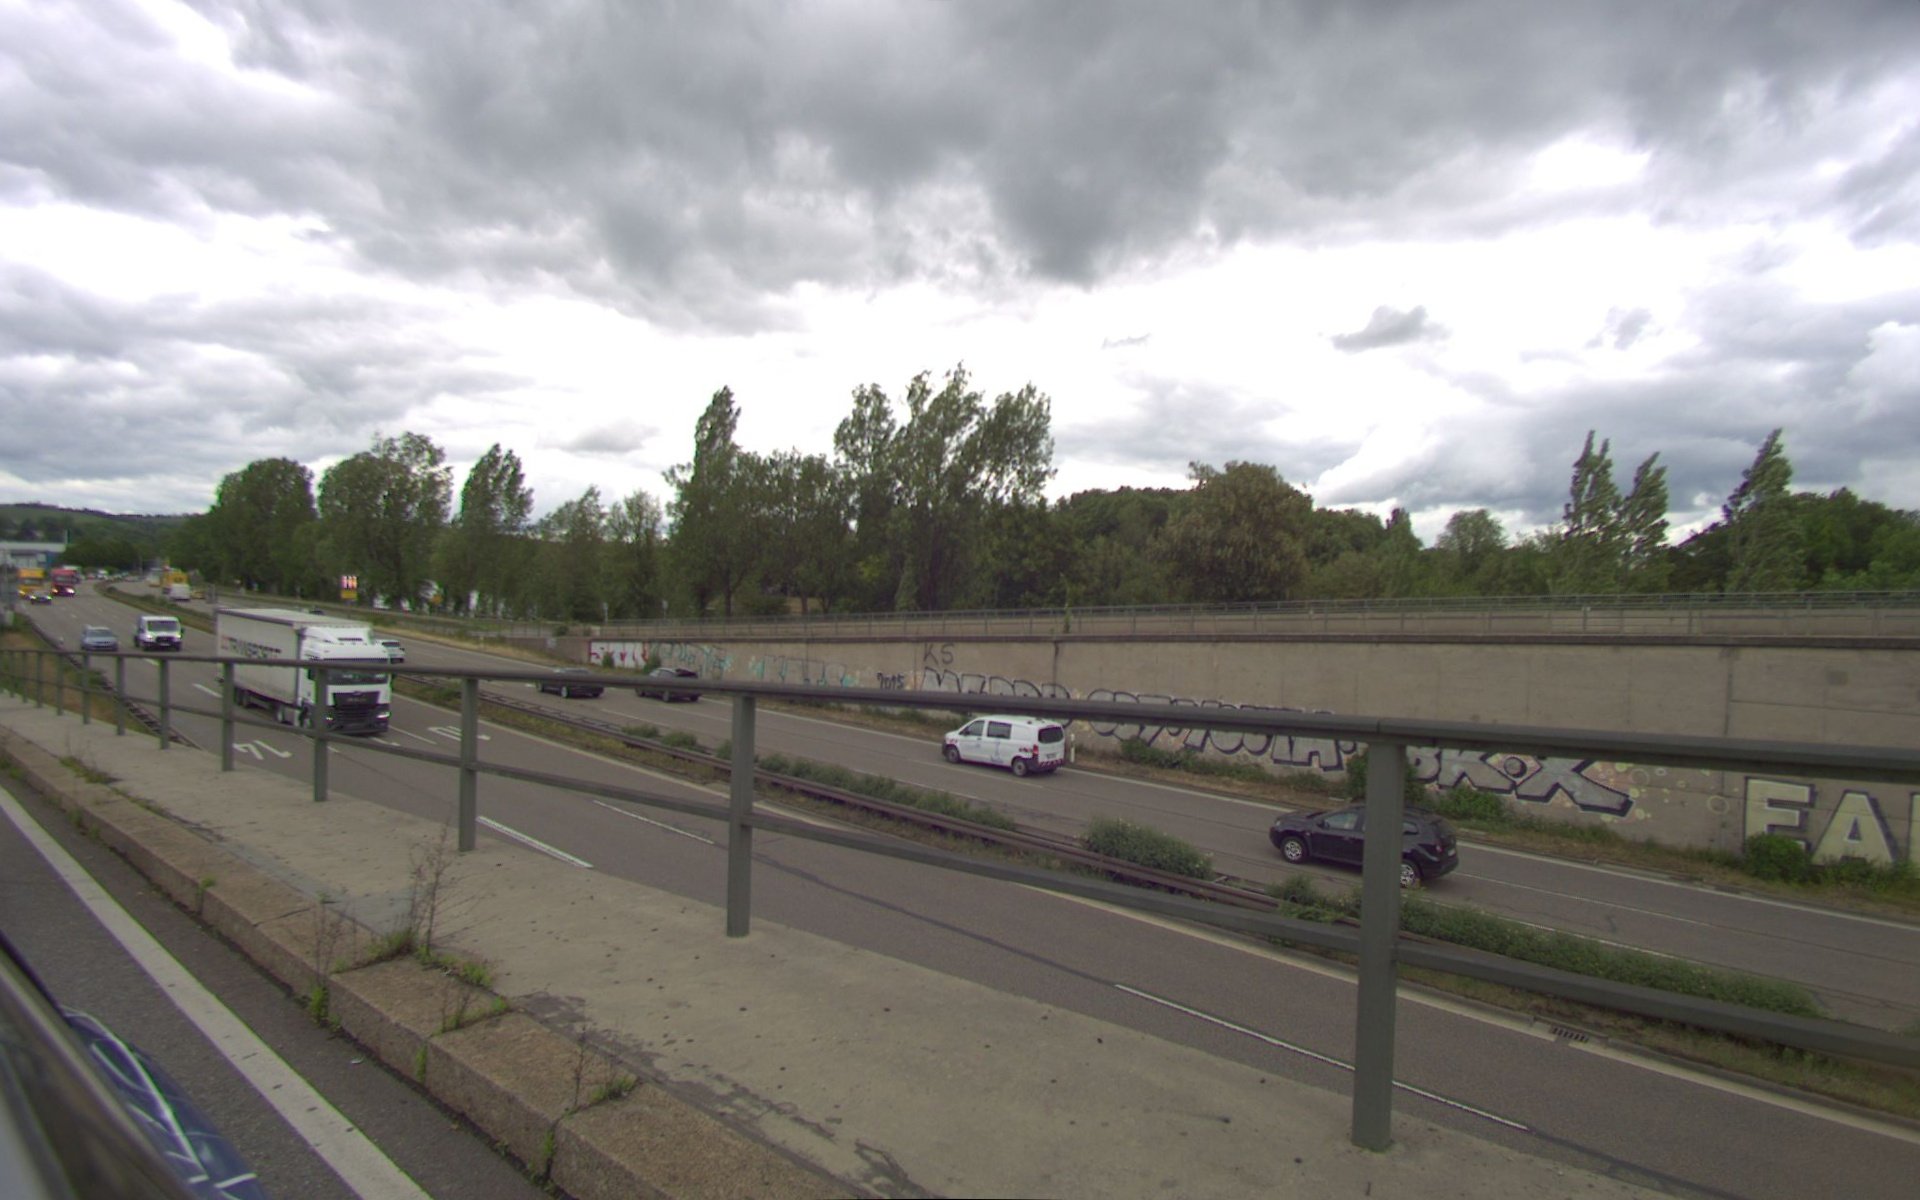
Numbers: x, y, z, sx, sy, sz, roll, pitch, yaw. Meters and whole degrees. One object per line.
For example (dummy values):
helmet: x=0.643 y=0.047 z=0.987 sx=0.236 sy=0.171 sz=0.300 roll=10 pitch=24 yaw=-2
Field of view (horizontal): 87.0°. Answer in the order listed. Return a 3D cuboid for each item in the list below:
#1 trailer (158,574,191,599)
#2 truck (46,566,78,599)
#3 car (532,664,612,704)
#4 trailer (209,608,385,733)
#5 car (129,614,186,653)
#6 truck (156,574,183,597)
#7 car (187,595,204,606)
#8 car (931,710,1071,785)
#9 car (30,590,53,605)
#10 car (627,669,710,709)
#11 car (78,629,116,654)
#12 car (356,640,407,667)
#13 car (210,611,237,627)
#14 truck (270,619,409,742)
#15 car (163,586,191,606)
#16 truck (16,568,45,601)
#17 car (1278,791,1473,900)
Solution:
trailer: x=-143.282 y=-2.488 z=184.521 sx=3.203 sy=4.294 sz=13.691 roll=2 pitch=0 yaw=-44
truck: x=-137.289 y=-2.687 z=154.669 sx=9.922 sy=4.774 sz=2.717 roll=2 pitch=-2 yaw=44
car: x=-20.300 y=4.345 z=52.837 sx=4.577 sy=1.638 sz=1.973 roll=2 pitch=-1 yaw=41
trailer: x=-28.894 y=2.717 z=43.614 sx=13.991 sy=4.140 sz=2.970 roll=2 pitch=0 yaw=43
car: x=-54.655 y=2.265 z=68.862 sx=6.502 sy=2.259 sz=2.076 roll=3 pitch=0 yaw=43
truck: x=-148.052 y=-2.735 z=189.455 sx=3.203 sy=4.213 sz=5.808 roll=2 pitch=0 yaw=-44
car: x=-120.861 y=0.066 z=159.976 sx=3.775 sy=1.664 sz=1.640 roll=2 pitch=0 yaw=45
car: x=1.422 y=5.267 z=36.748 sx=4.908 sy=1.922 sz=1.927 roll=2 pitch=0 yaw=41
car: x=-110.371 y=-0.307 z=121.607 sx=4.002 sy=1.679 sz=1.786 roll=3 pitch=1 yaw=44
car: x=-15.198 y=4.591 z=52.687 sx=4.577 sy=1.638 sz=1.973 roll=2 pitch=-1 yaw=41
car: x=-56.381 y=2.700 z=66.106 sx=3.539 sy=1.383 sz=1.492 roll=3 pitch=0 yaw=43
car: x=-37.987 y=3.481 z=66.440 sx=3.897 sy=1.505 sz=1.755 roll=2 pitch=-1 yaw=42
car: x=-74.580 y=1.957 z=102.480 sx=1.694 sy=1.464 sz=3.654 roll=1 pitch=1 yaw=-44
truck: x=-23.942 y=2.931 z=38.951 sx=5.875 sy=4.140 sz=2.970 roll=2 pitch=0 yaw=43
car: x=-113.943 y=-0.572 z=147.243 sx=6.101 sy=2.613 sz=2.144 roll=2 pitch=1 yaw=42
truck: x=-126.420 y=-2.148 z=137.663 sx=8.176 sy=4.153 sz=2.382 roll=3 pitch=1 yaw=44
car: x=9.943 y=5.806 z=24.390 sx=3.999 sy=1.633 sz=1.648 roll=2 pitch=0 yaw=41
